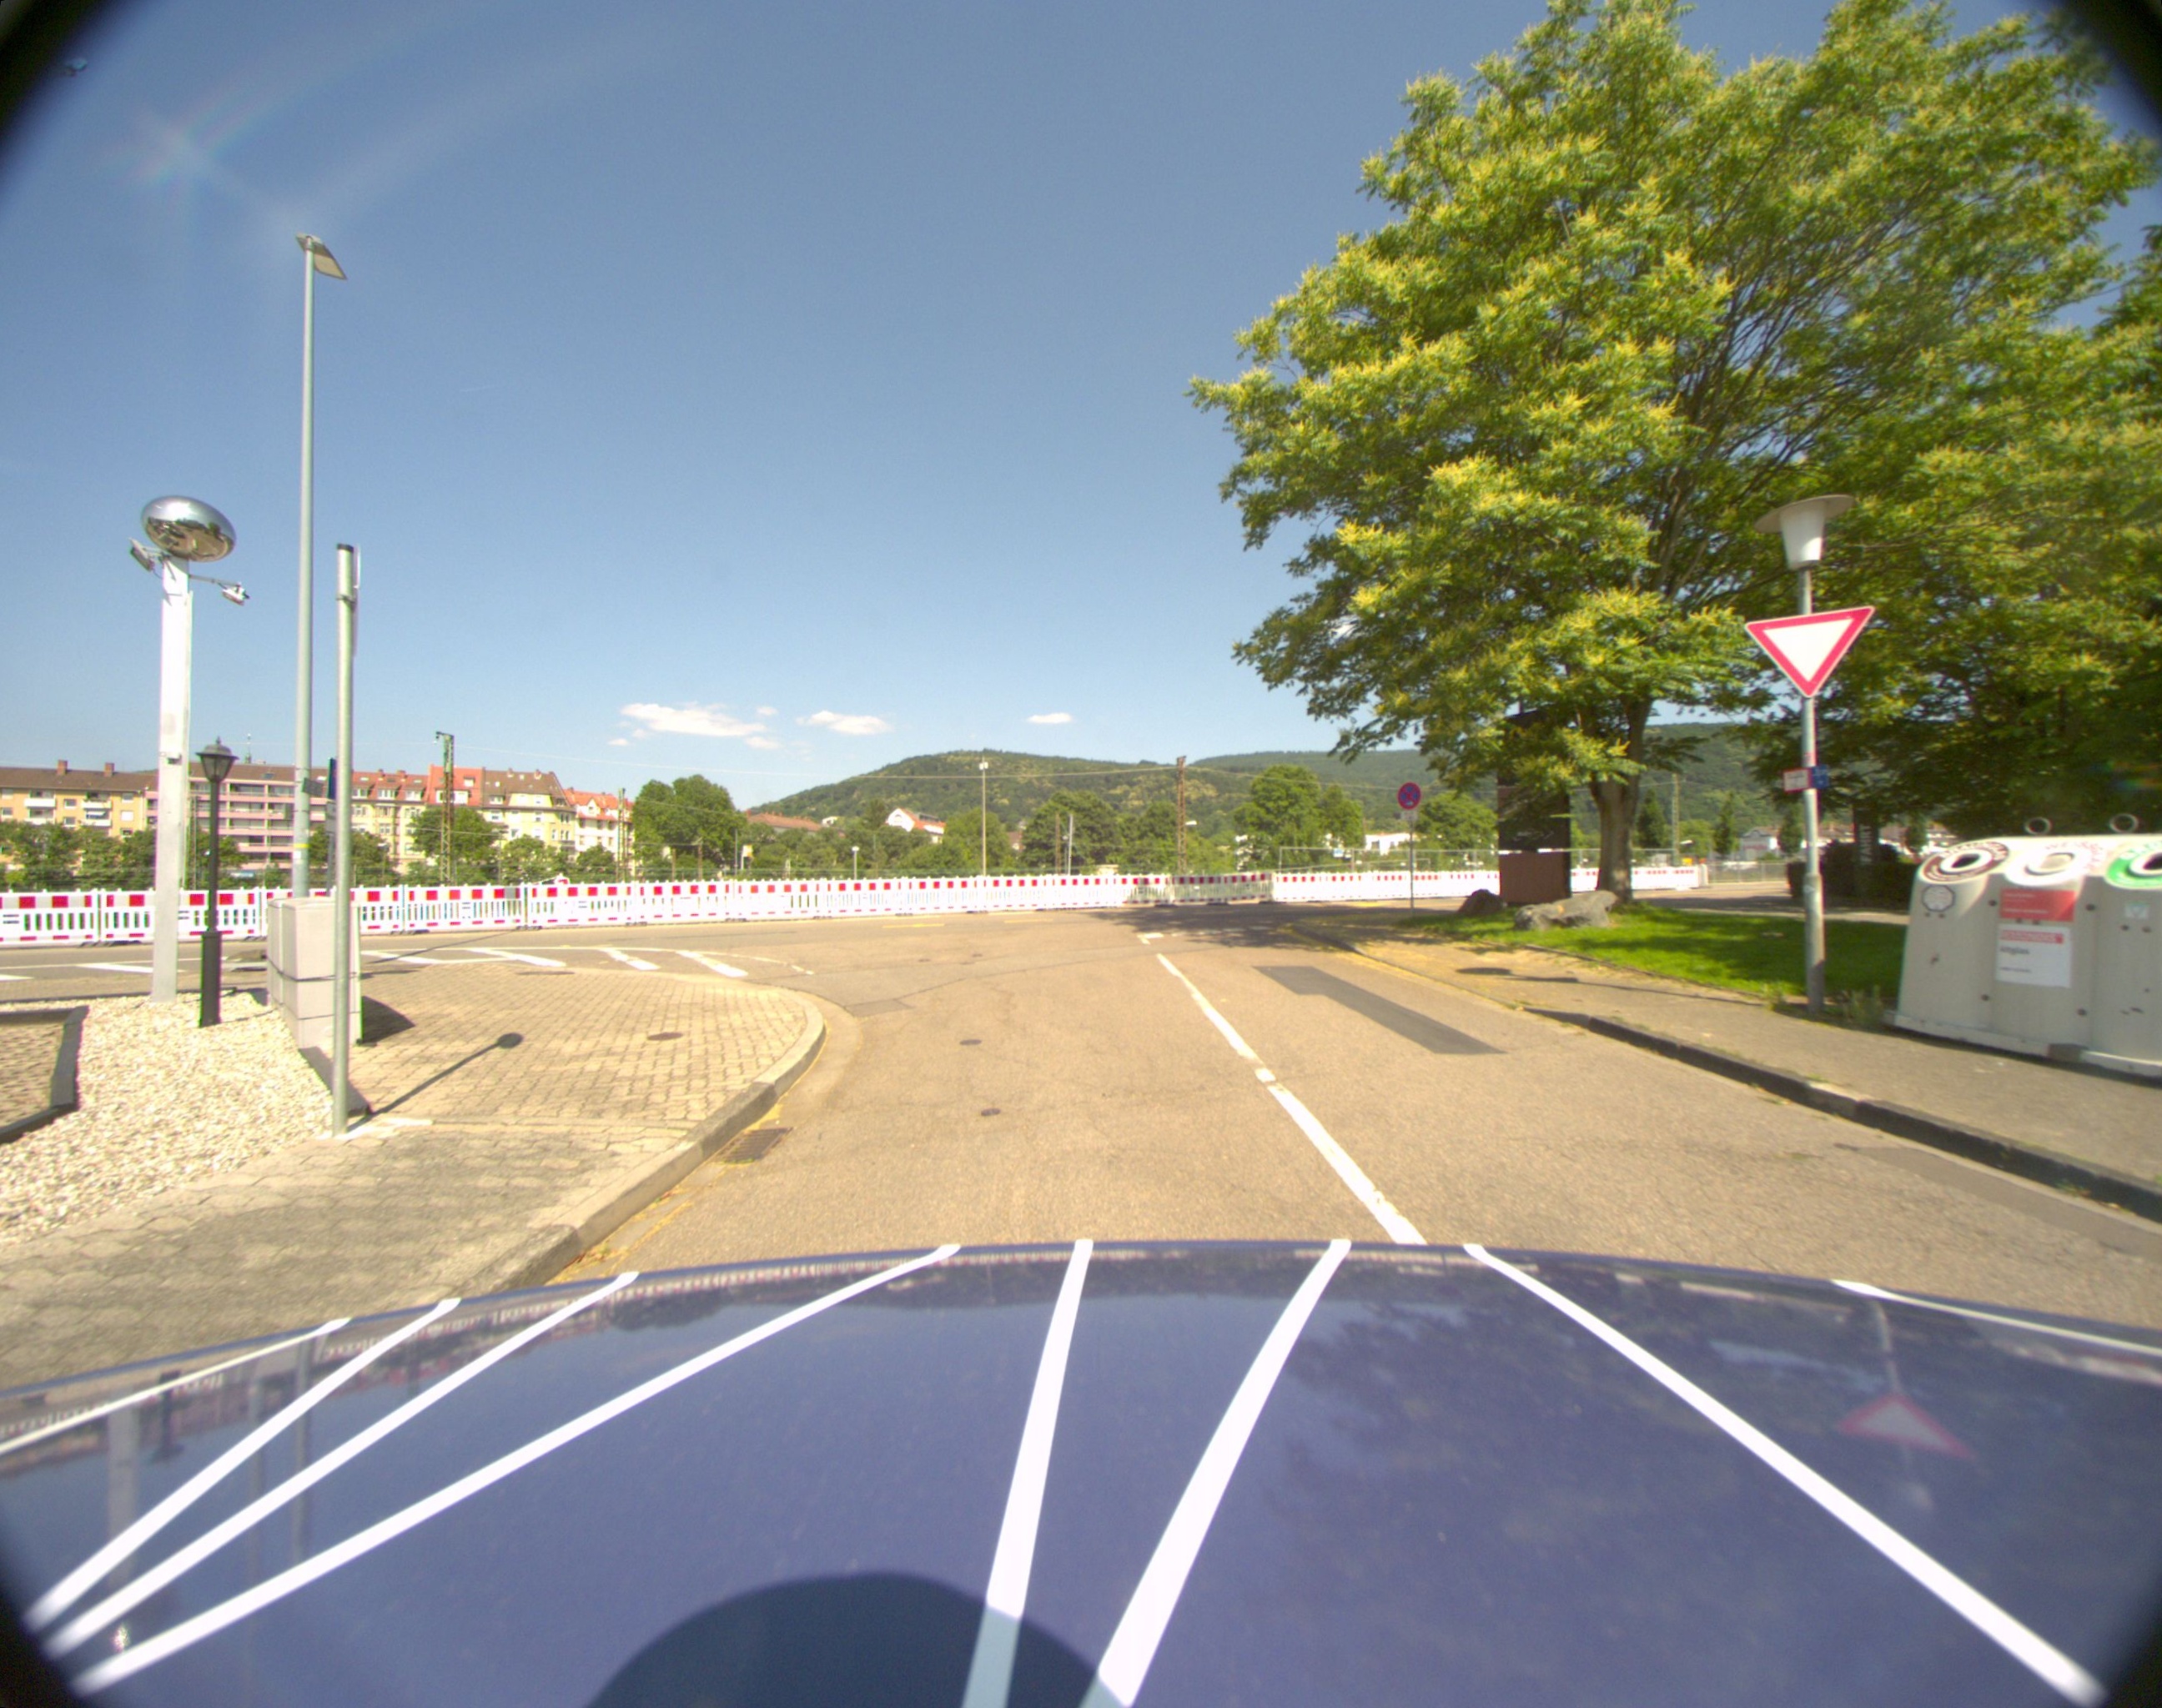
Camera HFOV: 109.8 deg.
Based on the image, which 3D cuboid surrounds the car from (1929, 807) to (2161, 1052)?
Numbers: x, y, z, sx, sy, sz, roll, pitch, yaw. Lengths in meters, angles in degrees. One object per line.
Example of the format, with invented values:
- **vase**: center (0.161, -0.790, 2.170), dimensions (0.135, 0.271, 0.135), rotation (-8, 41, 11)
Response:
- **car**: center (9.400, 0.635, 5.142), dimensions (1.997, 1.920, 5.103), rotation (2, 2, 8)
